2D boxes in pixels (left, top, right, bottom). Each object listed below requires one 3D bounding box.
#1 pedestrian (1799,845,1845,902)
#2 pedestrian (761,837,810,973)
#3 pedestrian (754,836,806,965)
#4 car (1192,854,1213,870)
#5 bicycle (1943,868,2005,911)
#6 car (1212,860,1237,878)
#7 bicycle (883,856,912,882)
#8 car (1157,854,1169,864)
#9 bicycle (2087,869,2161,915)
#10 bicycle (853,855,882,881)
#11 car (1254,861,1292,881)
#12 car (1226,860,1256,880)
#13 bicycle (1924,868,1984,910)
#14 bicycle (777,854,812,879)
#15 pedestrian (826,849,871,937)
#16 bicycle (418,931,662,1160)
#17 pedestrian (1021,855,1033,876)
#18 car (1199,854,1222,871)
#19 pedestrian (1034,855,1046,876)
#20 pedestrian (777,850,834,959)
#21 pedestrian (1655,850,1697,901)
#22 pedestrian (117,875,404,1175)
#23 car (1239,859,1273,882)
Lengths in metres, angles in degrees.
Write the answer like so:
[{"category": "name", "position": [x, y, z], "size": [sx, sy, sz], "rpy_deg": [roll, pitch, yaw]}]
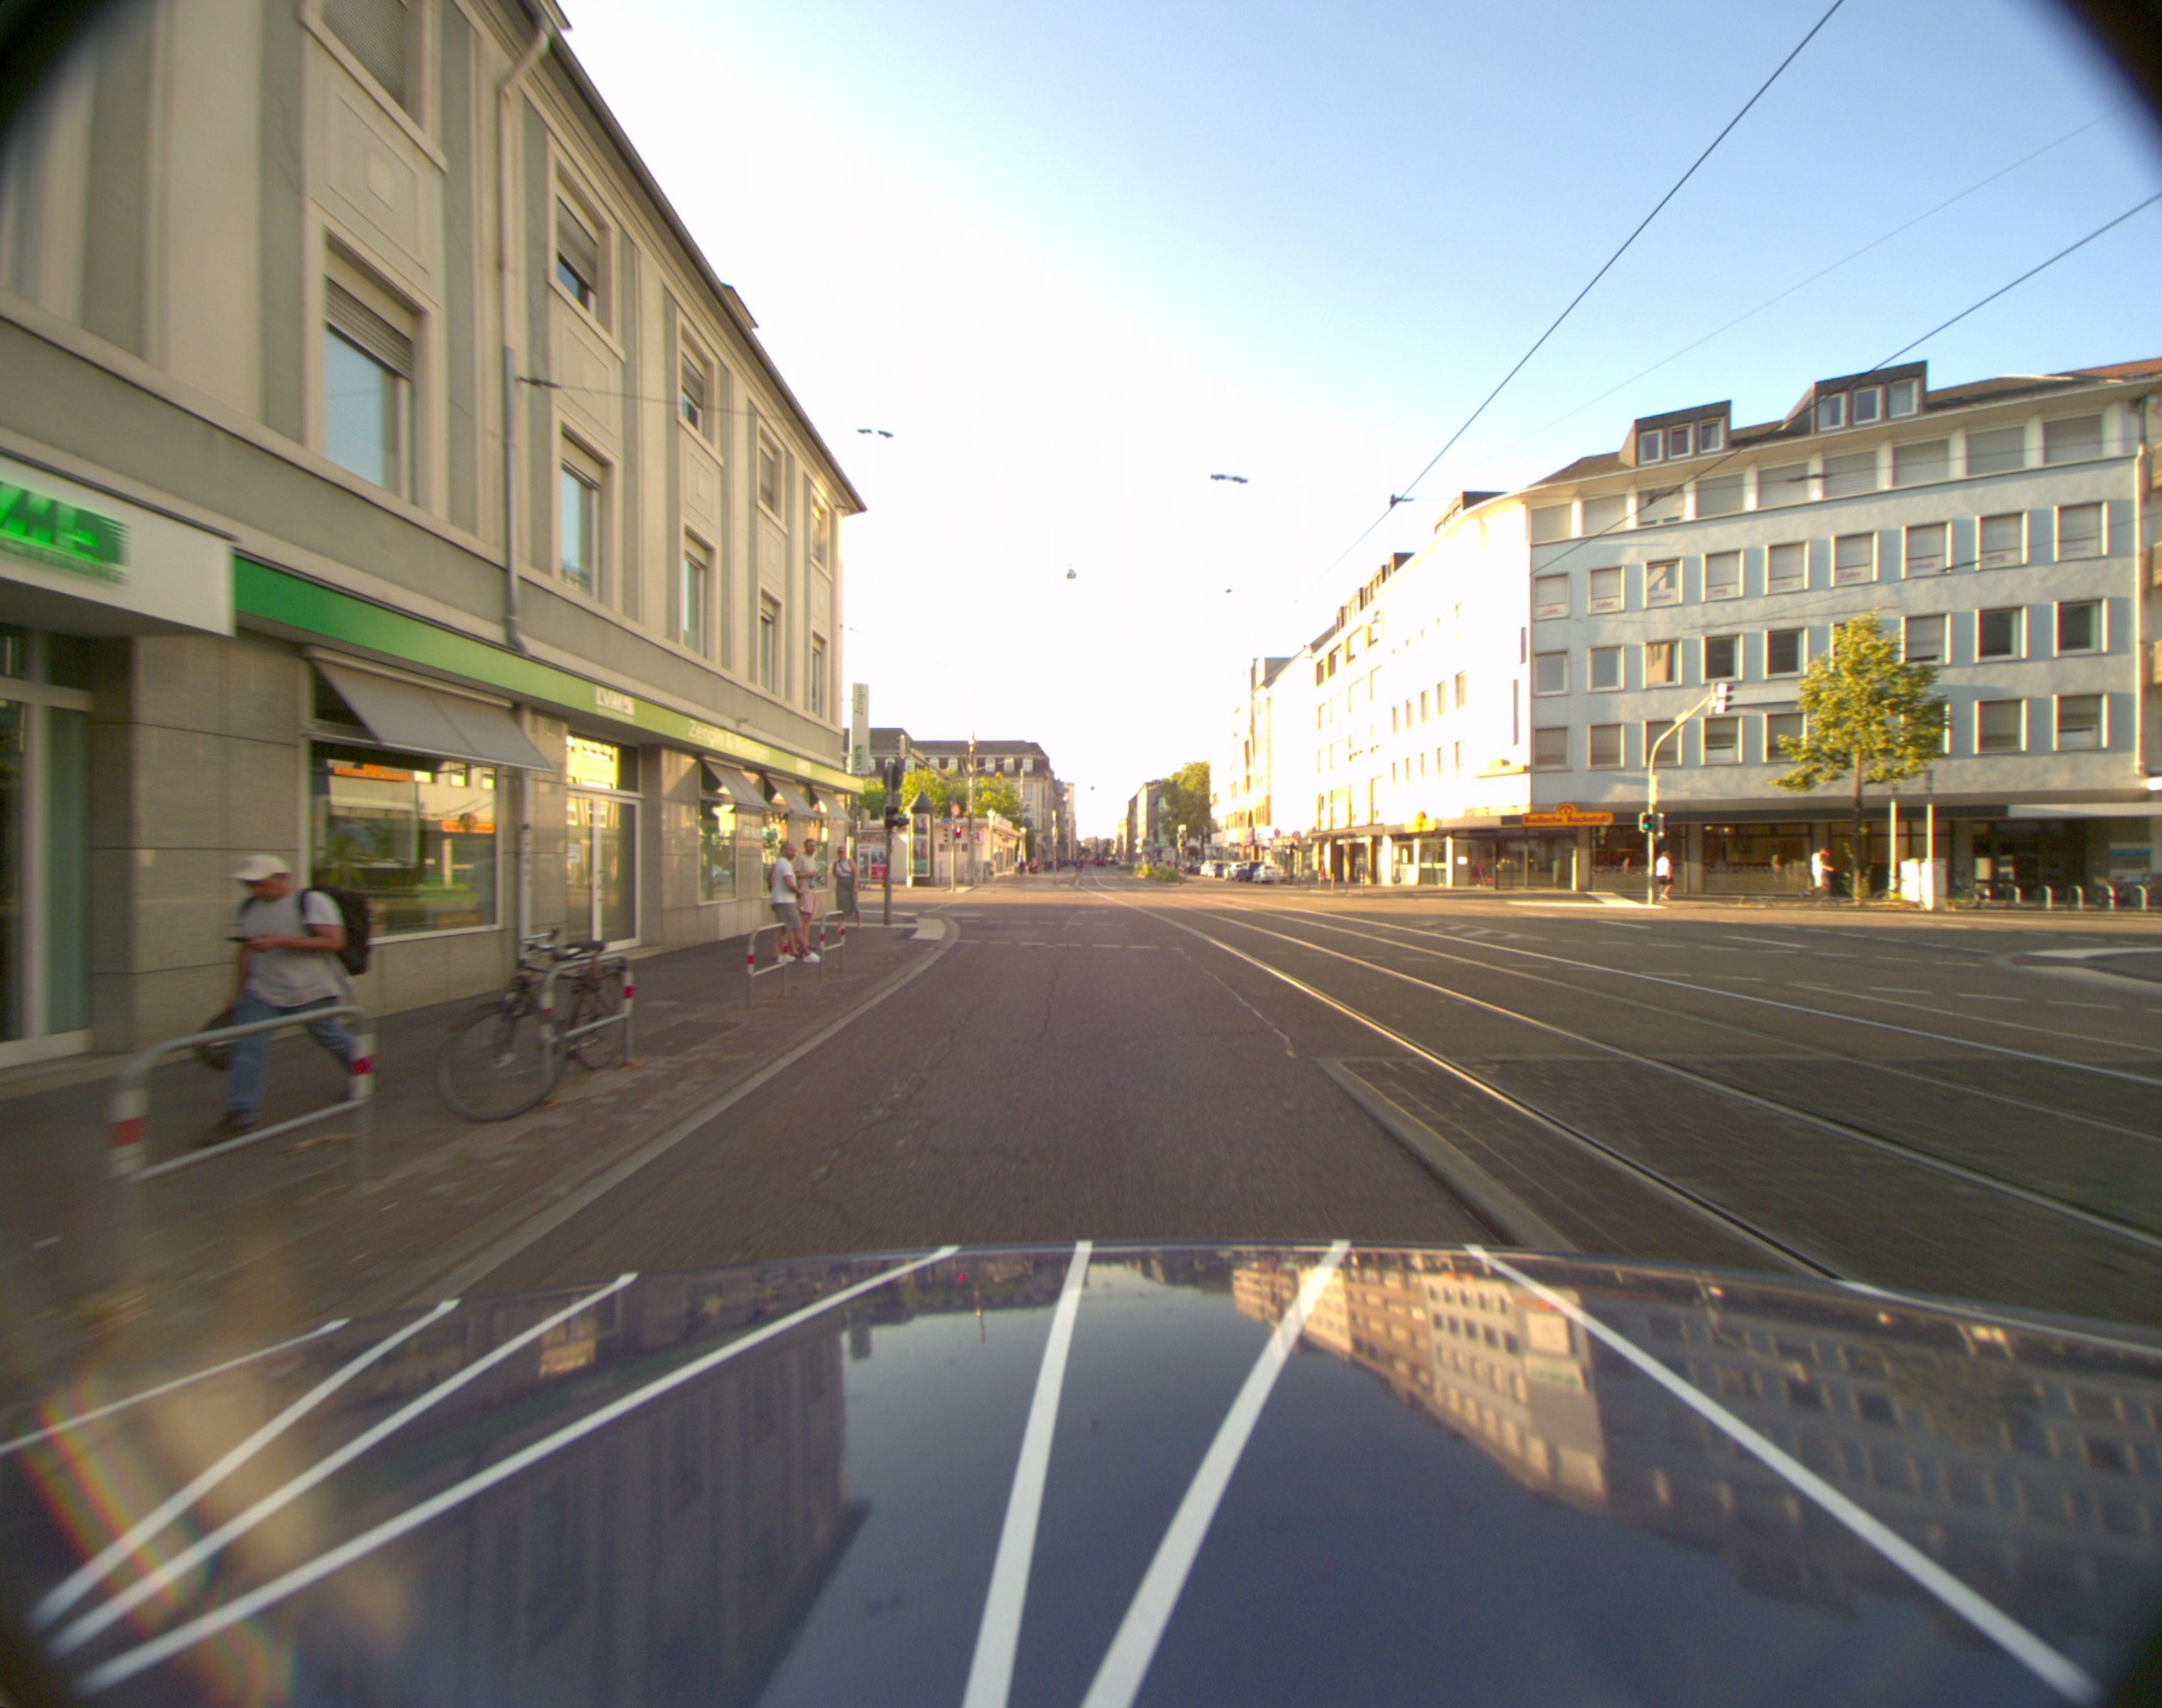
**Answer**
[{"category": "pedestrian", "position": [25.218, 0.640, 25.863], "size": [0.808, 1.876, 0.991], "rpy_deg": [-2, 2, -37]}, {"category": "pedestrian", "position": [-4.274, 0.725, 11.012], "size": [0.576, 1.917, 0.496], "rpy_deg": [0, 1, -10]}, {"category": "pedestrian", "position": [-4.573, 0.692, 11.556], "size": [0.640, 1.917, 0.529], "rpy_deg": [0, 1, -11]}, {"category": "car", "position": [13.284, 0.863, 83.072], "size": [1.847, 1.625, 4.001], "rpy_deg": [0, 0, 3]}, {"category": "bicycle", "position": [26.614, 1.034, 22.682], "size": [0.469, 1.196, 1.922], "rpy_deg": [0, 0, 27]}, {"category": "car", "position": [13.397, 1.364, 71.009], "size": [1.847, 1.625, 4.001], "rpy_deg": [0, 0, 3]}, {"category": "bicycle", "position": [-10.830, 0.876, 44.878], "size": [0.478, 1.514, 1.996], "rpy_deg": [0, 0, 25]}, {"category": "car", "position": [14.631, 0.887, 135.812], "size": [1.847, 1.625, 4.001], "rpy_deg": [0, 0, 3]}, {"category": "bicycle", "position": [29.569, 1.037, 21.340], "size": [0.469, 1.196, 1.921], "rpy_deg": [0, 0, 14]}, {"category": "bicycle", "position": [-12.944, 0.833, 46.039], "size": [0.478, 1.514, 1.996], "rpy_deg": [0, 0, 26]}, {"category": "car", "position": [13.185, 1.164, 52.316], "size": [1.847, 1.287, 4.001], "rpy_deg": [0, 0, 3]}, {"category": "car", "position": [13.253, 1.316, 63.134], "size": [1.847, 1.625, 4.001], "rpy_deg": [0, 0, 3]}, {"category": "bicycle", "position": [26.103, 1.024, 22.752], "size": [0.469, 1.196, 1.922], "rpy_deg": [0, 0, 27]}, {"category": "bicycle", "position": [-18.333, 0.783, 48.686], "size": [0.679, 1.514, 2.234], "rpy_deg": [0, 0, 26]}, {"category": "pedestrian", "position": [-4.754, 0.783, 15.548], "size": [0.671, 1.768, 0.648], "rpy_deg": [0, 1, 6]}, {"category": "bicycle", "position": [-3.447, 1.149, 5.030], "size": [0.479, 1.083, 1.647], "rpy_deg": [2, 1, -2]}, {"category": "pedestrian", "position": [-4.134, 0.896, 58.486], "size": [0.806, 1.603, 0.994], "rpy_deg": [-1, 1, 0]}, {"category": "car", "position": [13.029, 0.835, 76.420], "size": [1.847, 1.625, 4.001], "rpy_deg": [0, 0, 3]}, {"category": "pedestrian", "position": [-3.154, 0.899, 58.539], "size": [0.806, 1.603, 0.994], "rpy_deg": [-1, 1, 0]}, {"category": "pedestrian", "position": [-4.486, 0.799, 12.400], "size": [0.639, 1.735, 0.699], "rpy_deg": [0, 1, 3]}, {"category": "pedestrian", "position": [20.821, 0.733, 26.584], "size": [0.808, 1.716, 0.991], "rpy_deg": [-2, 2, -37]}, {"category": "pedestrian", "position": [-4.666, 0.901, 4.394], "size": [0.699, 1.539, 0.870], "rpy_deg": [0, 0, 3]}, {"category": "car", "position": [13.069, 1.203, 56.886], "size": [1.847, 1.625, 4.001], "rpy_deg": [0, 0, 3]}]
